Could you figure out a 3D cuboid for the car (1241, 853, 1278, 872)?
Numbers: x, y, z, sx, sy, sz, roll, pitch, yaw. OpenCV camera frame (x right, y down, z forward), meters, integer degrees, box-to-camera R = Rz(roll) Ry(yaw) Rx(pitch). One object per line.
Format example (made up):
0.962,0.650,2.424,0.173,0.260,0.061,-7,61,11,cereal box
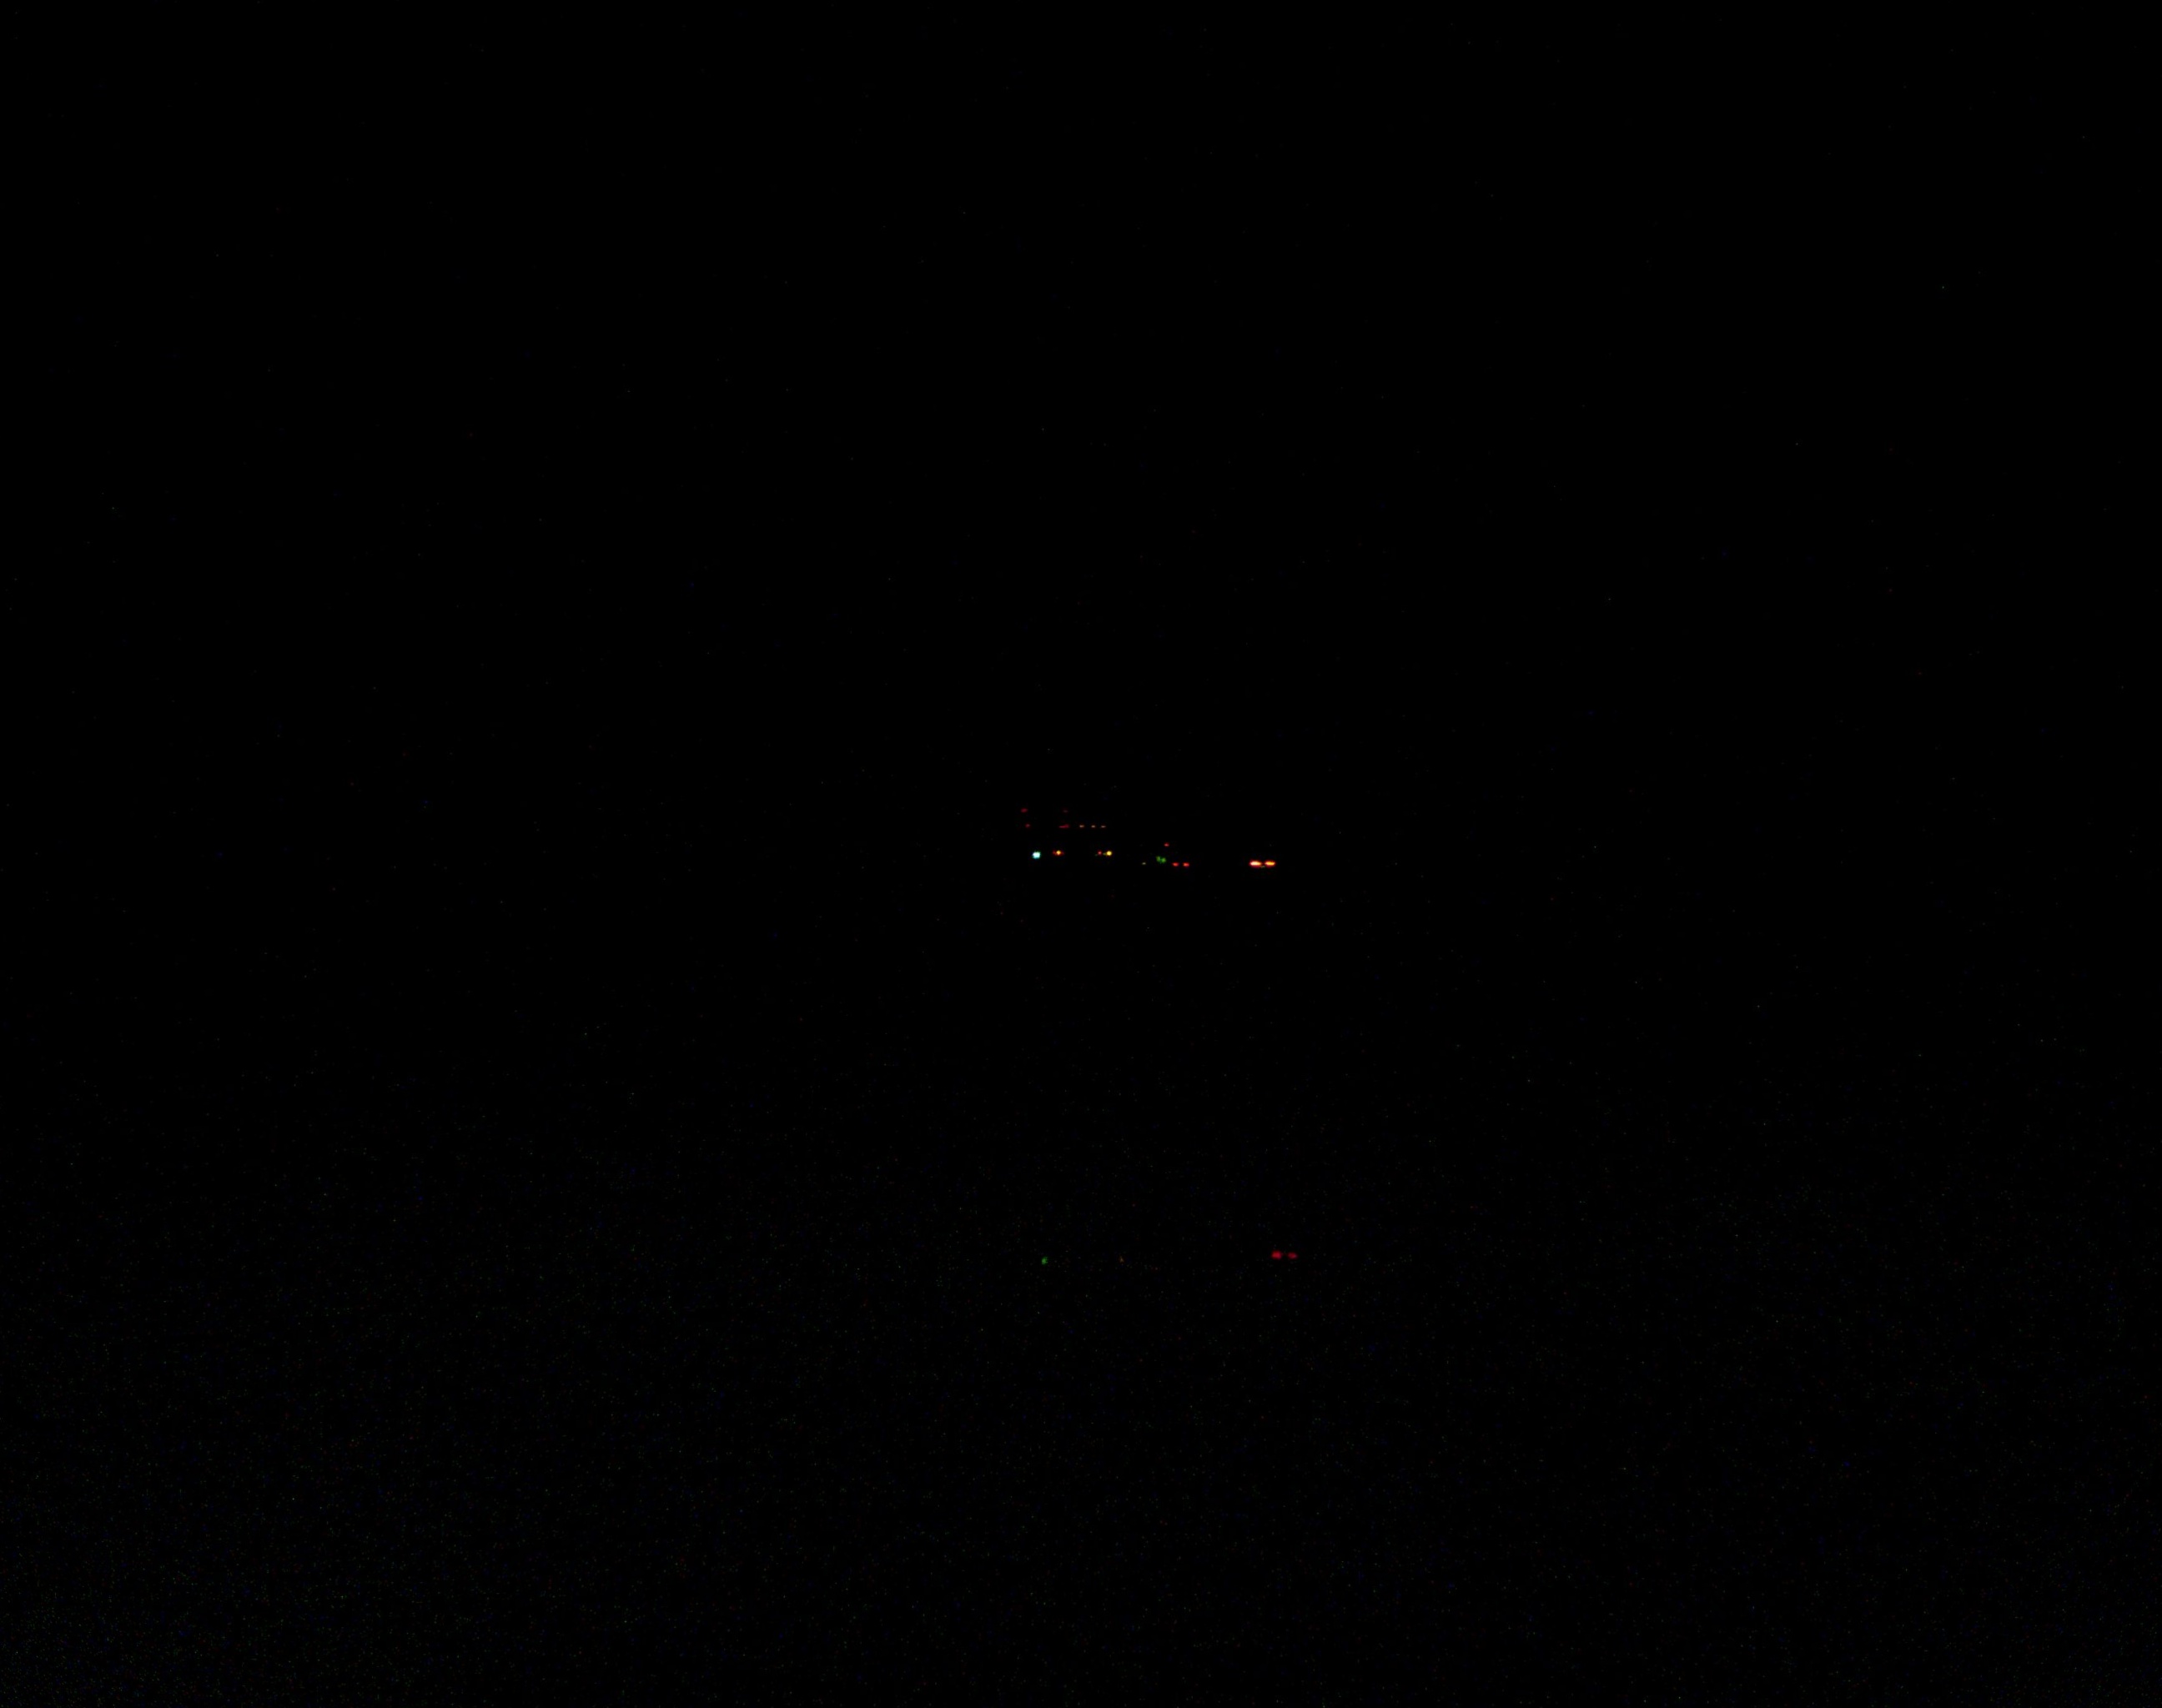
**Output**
14.789,0.688,63.074,1.999,1.548,4.294,-1,0,0,car

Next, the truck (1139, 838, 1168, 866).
11.457,-0.339,121.518,2.753,4.103,13.904,-1,0,-3,truck

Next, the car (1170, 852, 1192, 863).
12.047,0.432,91.818,1.999,1.264,4.294,-1,0,0,car

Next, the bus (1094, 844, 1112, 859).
4.918,-0.541,171.282,2.793,3.092,12.512,-1,0,-4,bus

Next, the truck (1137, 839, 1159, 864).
11.162,-0.466,127.638,2.781,4.119,6.672,-1,1,-3,truck
